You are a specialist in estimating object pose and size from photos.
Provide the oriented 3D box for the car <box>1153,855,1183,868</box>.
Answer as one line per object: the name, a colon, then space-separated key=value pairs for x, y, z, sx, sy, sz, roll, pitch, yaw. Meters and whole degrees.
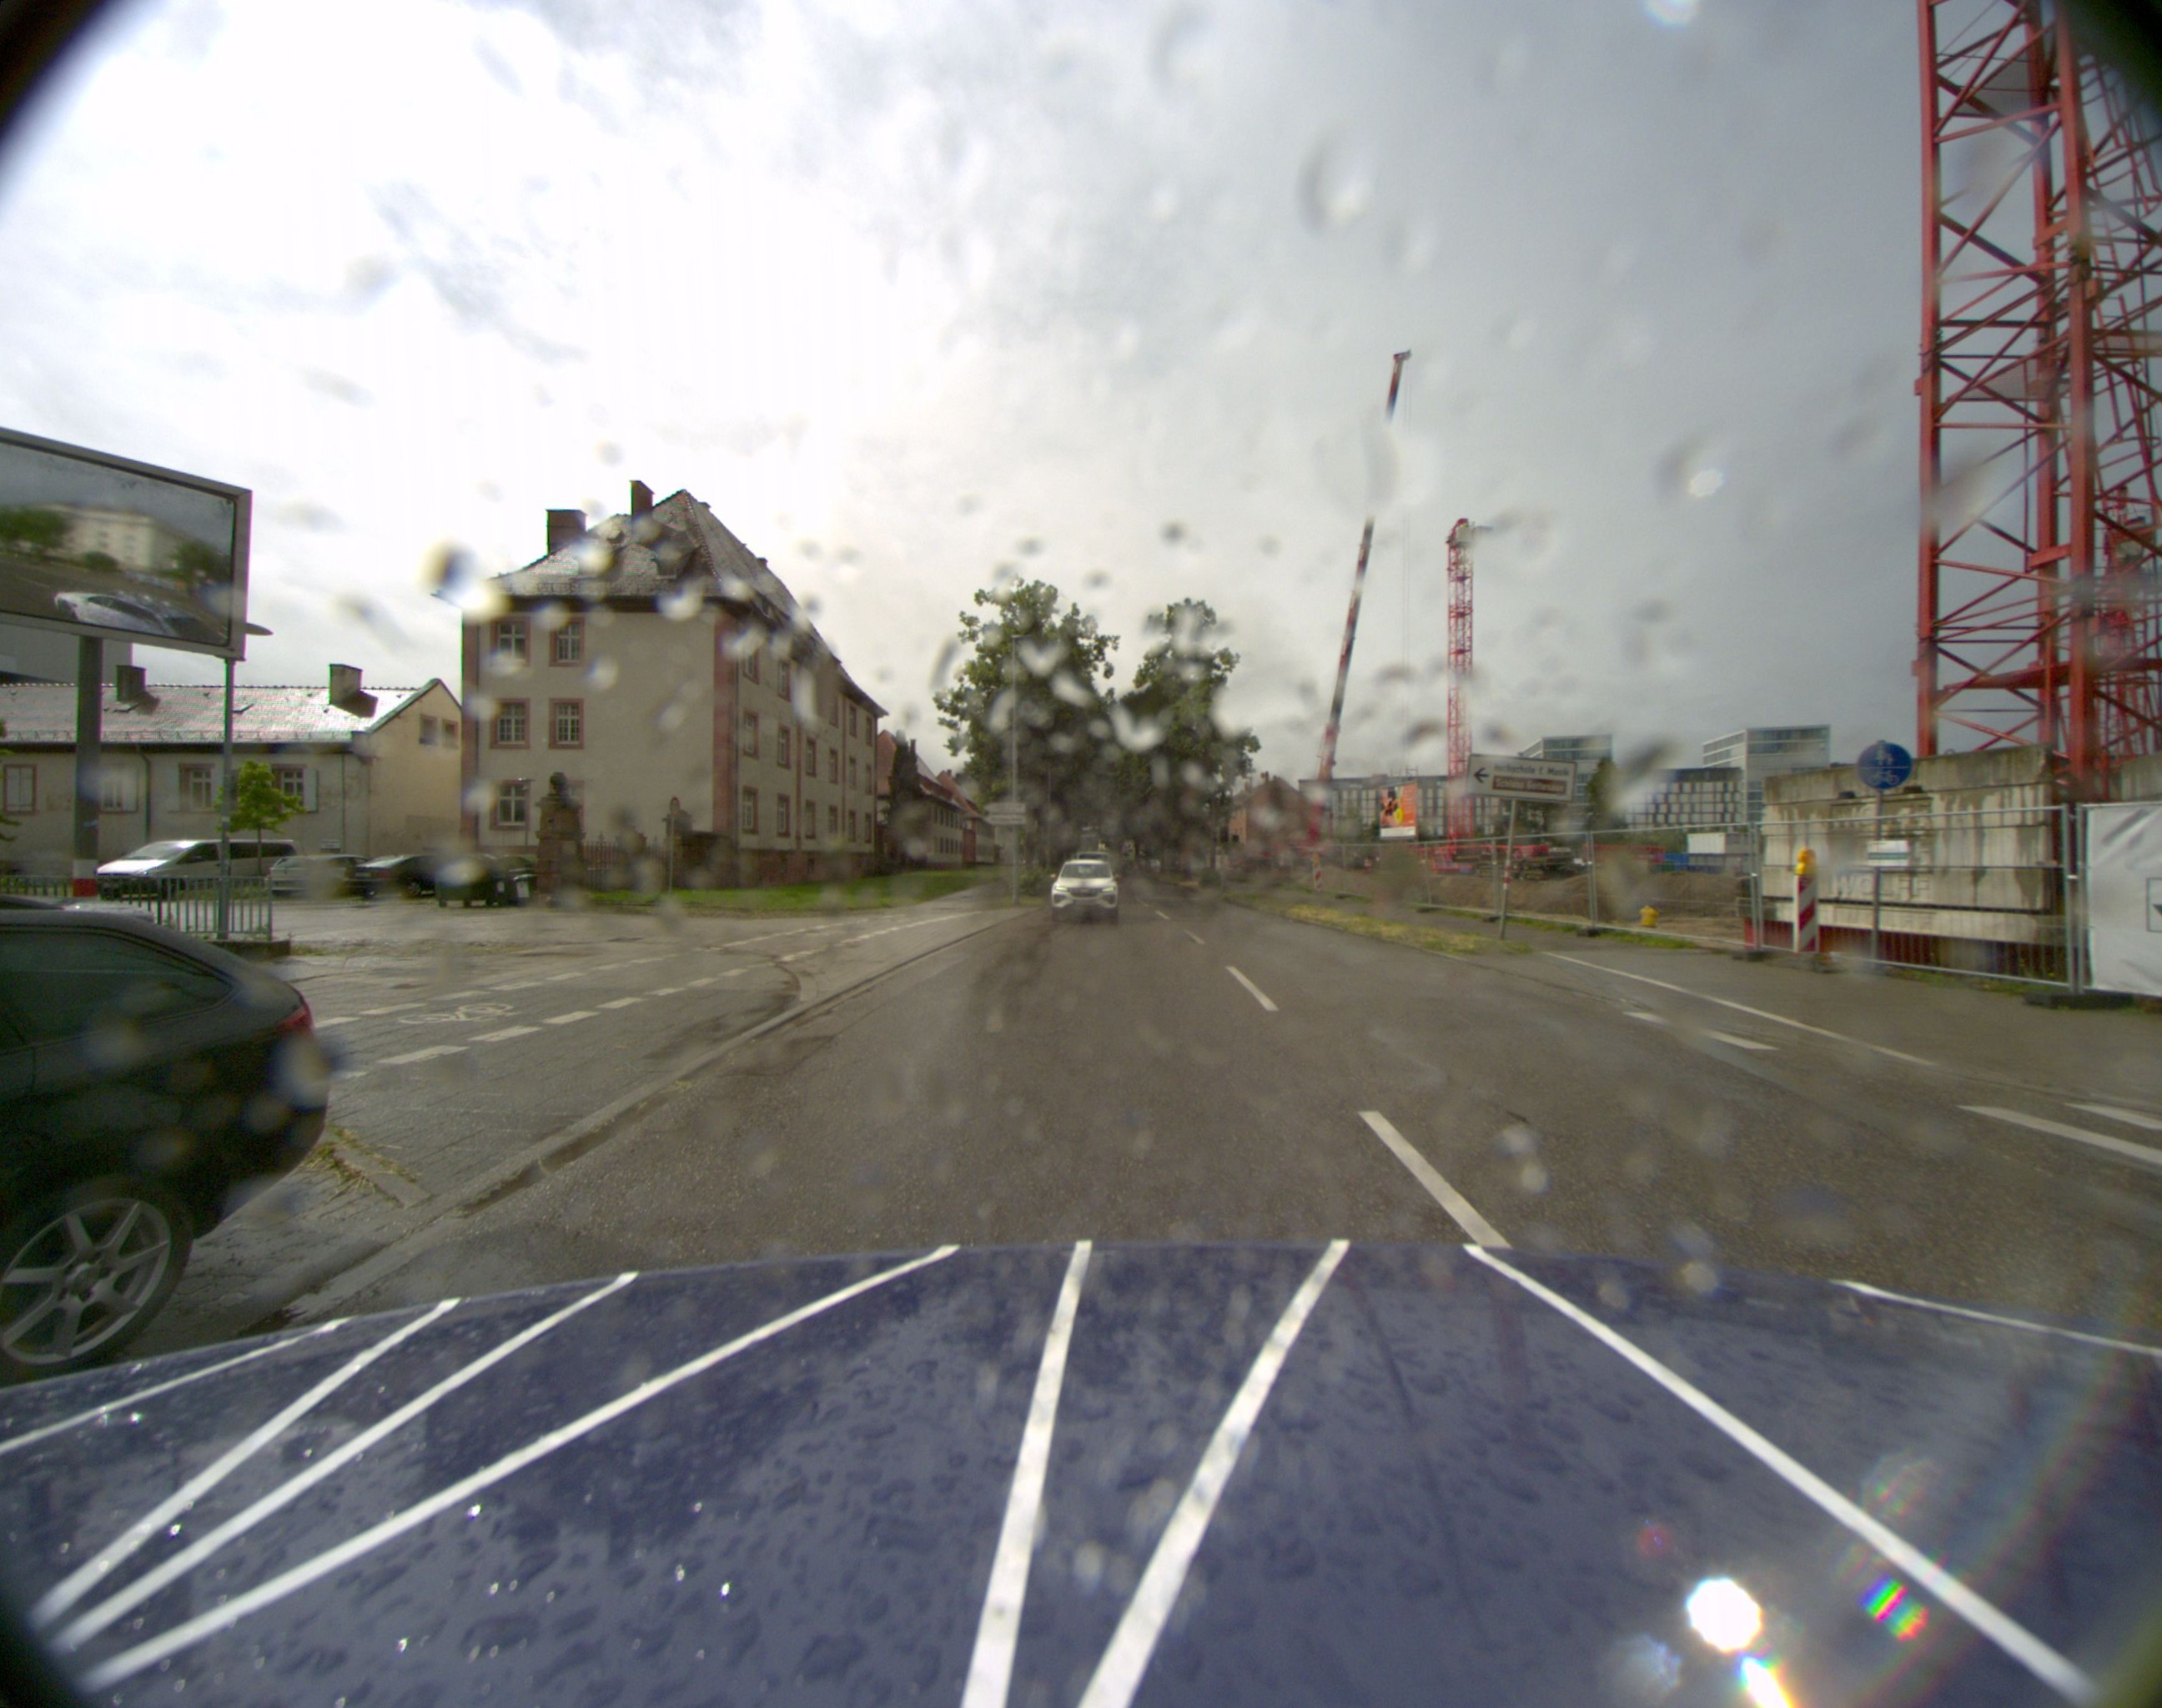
car: x=11.789 y=1.008 z=102.537 sx=3.866 sy=1.543 sz=1.699 roll=-2 pitch=1 yaw=11

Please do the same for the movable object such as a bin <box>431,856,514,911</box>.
movable object such as a bin: x=-16.656 y=0.790 z=20.849 sx=1.108 sy=1.448 sz=1.391 roll=2 pitch=0 yaw=1

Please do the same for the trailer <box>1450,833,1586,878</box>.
trailer: x=36.392 y=0.079 z=64.393 sx=2.968 sy=3.214 sz=14.307 roll=-3 pitch=1 yaw=-1

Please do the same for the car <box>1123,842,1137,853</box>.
car: x=7.242 y=-0.960 z=113.034 sx=1.817 sy=1.531 sz=3.982 roll=2 pitch=0 yaw=2

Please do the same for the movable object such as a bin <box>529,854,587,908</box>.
movable object such as a bin: x=-14.351 y=0.728 z=20.880 sx=0.801 sy=1.448 sz=1.097 roll=2 pitch=0 yaw=1

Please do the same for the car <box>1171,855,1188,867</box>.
car: x=13.975 y=0.941 z=107.607 sx=1.693 sy=1.521 sz=3.998 roll=-2 pitch=1 yaw=-2

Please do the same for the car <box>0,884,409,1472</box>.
car: x=-3.858 y=0.922 z=1.163 sx=1.779 sy=1.530 sz=4.377 roll=3 pitch=0 yaw=-1

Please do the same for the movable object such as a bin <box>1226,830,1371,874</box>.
movable object such as a bin: x=25.180 y=-0.260 z=88.647 sx=15.942 sy=4.532 sz=3.102 roll=-2 pitch=1 yaw=3

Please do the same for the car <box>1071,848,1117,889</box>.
car: x=0.625 y=0.731 z=41.432 sx=2.107 sy=1.990 sz=5.432 roll=-2 pitch=1 yaw=-2

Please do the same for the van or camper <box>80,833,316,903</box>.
van or camper: x=-29.346 y=0.443 z=25.588 sx=1.793 sy=2.104 sz=5.186 roll=-1 pitch=0 yaw=1

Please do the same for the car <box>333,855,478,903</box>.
car: x=-22.596 y=0.801 z=25.598 sx=1.598 sy=1.438 sz=3.575 roll=2 pitch=0 yaw=1

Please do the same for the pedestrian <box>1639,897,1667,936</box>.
pedestrian: x=26.408 y=2.872 z=35.115 sx=0.588 sy=1.675 sz=0.849 roll=3 pitch=1 yaw=5

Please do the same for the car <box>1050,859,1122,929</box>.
car: x=0.112 y=0.917 z=19.197 sx=1.608 sy=1.499 sz=4.000 roll=-1 pitch=0 yaw=0

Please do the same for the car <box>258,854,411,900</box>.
car: x=-25.348 y=0.753 z=25.977 sx=1.598 sy=1.438 sz=3.575 roll=2 pitch=0 yaw=1

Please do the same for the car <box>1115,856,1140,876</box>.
car: x=3.772 y=0.988 z=62.330 sx=1.845 sy=1.598 sz=4.000 roll=0 pitch=0 yaw=1
